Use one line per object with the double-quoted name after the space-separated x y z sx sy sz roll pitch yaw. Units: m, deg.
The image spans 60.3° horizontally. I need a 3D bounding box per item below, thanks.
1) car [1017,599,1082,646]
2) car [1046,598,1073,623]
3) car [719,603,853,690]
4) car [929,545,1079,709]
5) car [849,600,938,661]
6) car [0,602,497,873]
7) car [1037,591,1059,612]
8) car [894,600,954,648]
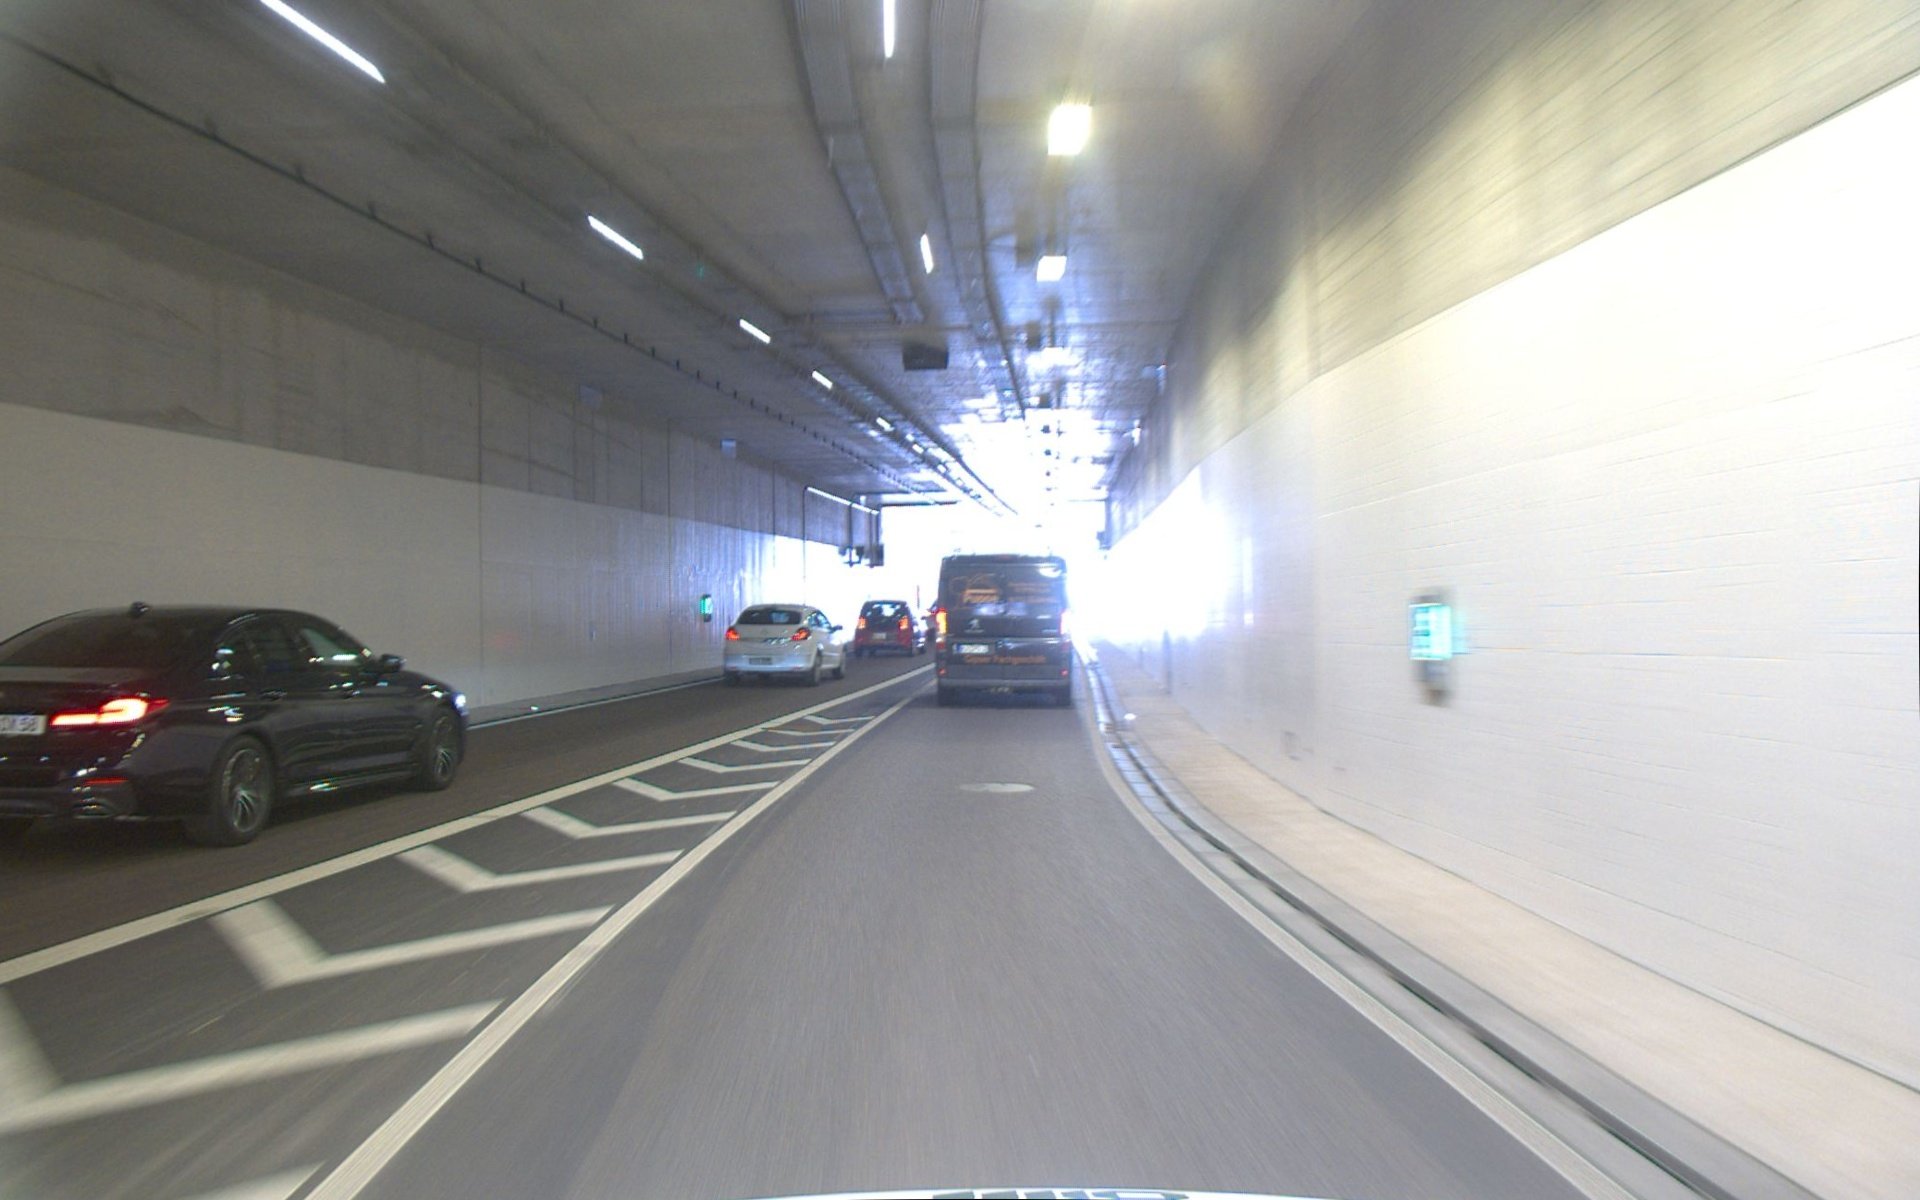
3.143 0.783 57.351 2.041 1.540 4.639 -1 -1 5 "car"
6.972 0.784 116.079 1.837 1.653 4.221 1 -1 3 "car"
-3.120 0.793 30.372 1.673 1.438 3.977 0 1 6 "car"
0.786 0.384 25.739 2.113 2.305 4.639 0 0 4 "car"
-1.750 0.773 44.562 1.776 1.538 4.223 1 0 6 "car"
-4.991 0.764 11.530 1.660 1.447 4.854 1 0 6 "car"
7.648 0.149 143.652 1.837 1.653 4.221 1 -1 3 "car"
-1.249 0.884 59.491 1.837 1.609 4.221 1 -1 3 "car"
